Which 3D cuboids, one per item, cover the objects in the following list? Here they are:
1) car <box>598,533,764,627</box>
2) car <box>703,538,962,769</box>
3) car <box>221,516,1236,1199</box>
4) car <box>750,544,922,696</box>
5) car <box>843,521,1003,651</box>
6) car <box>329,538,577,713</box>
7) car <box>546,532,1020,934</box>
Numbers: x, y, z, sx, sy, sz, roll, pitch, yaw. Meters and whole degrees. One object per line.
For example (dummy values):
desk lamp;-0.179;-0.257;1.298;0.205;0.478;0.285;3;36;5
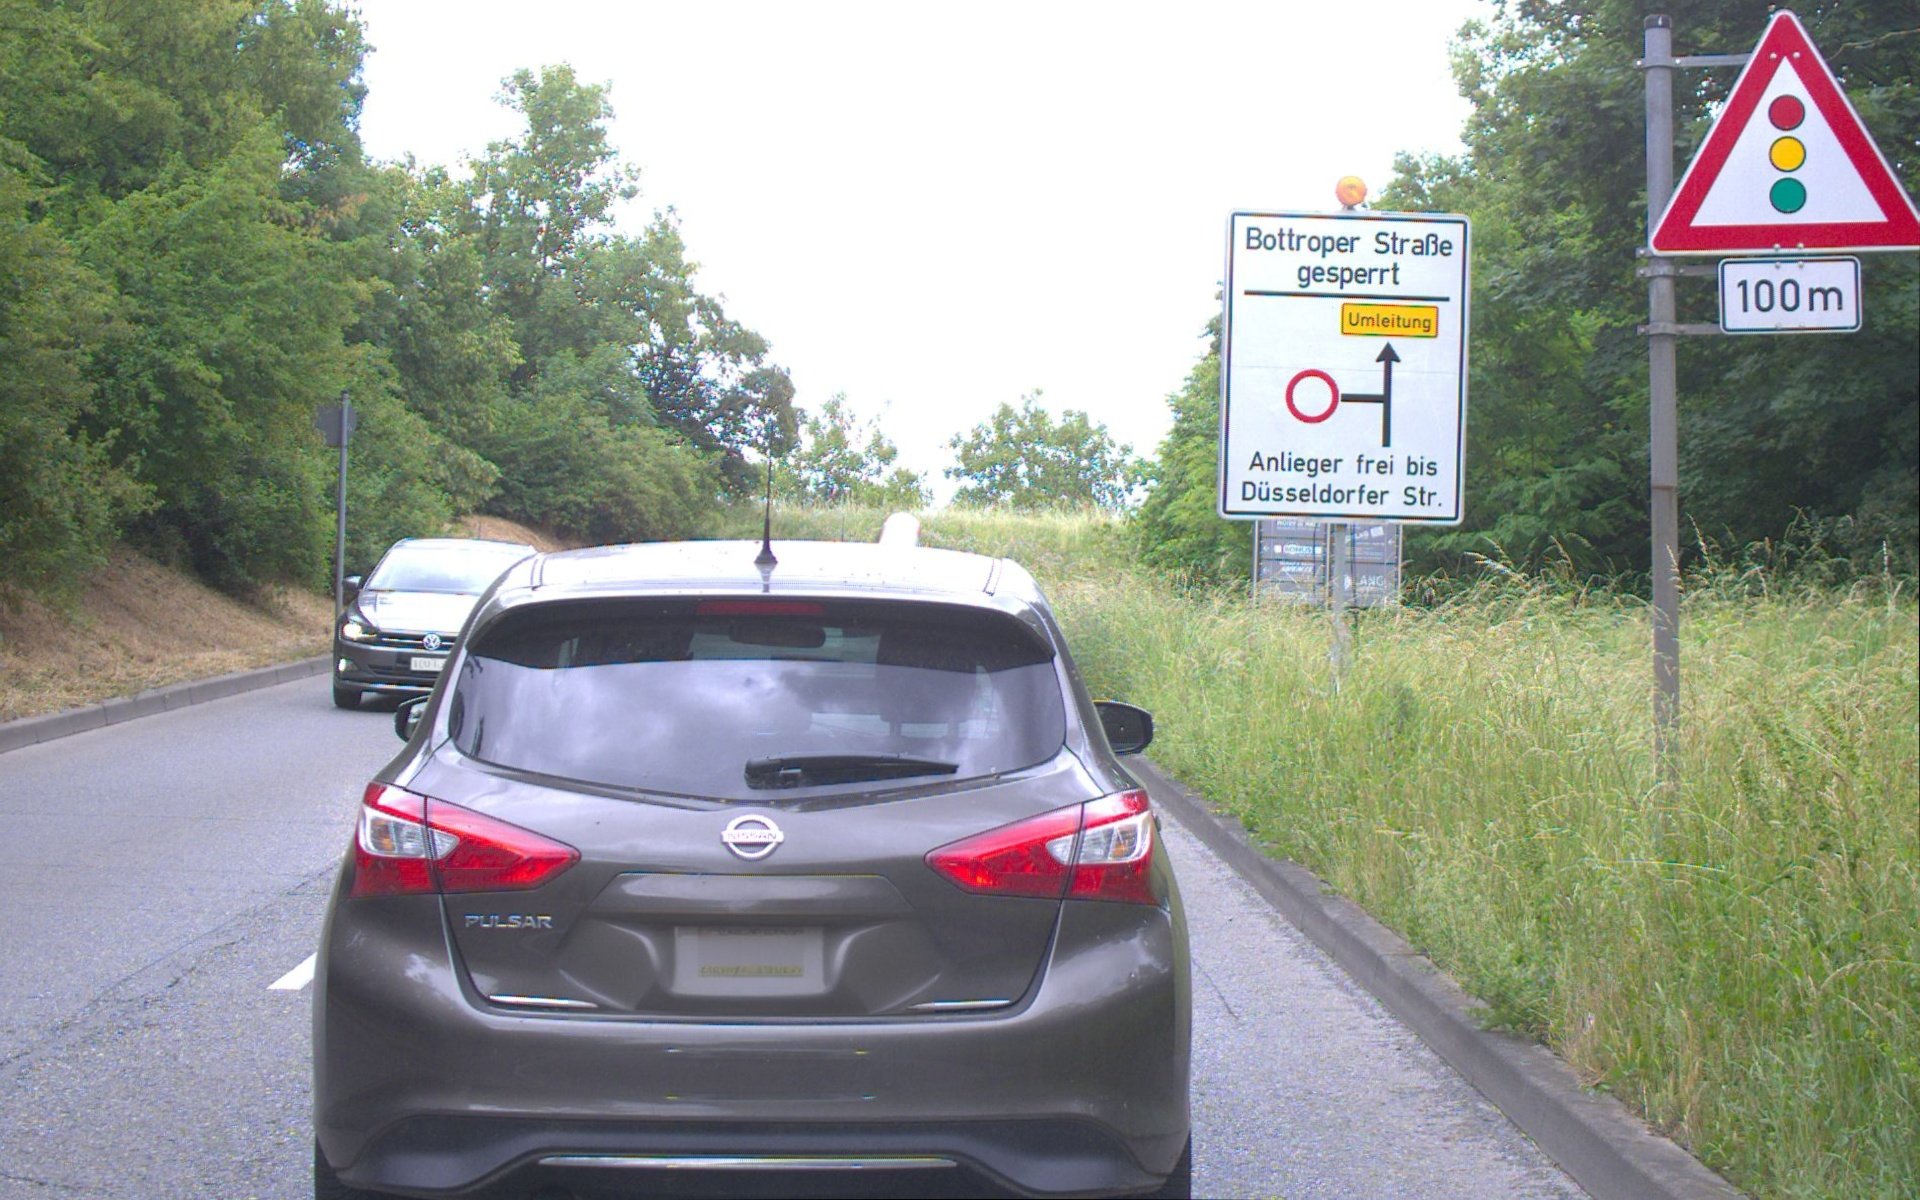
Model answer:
car;-4.561;-0.324;56.652;1.643;1.395;3.819;4;1;12
car;-0.866;0.328;24.917;1.736;1.551;3.543;0;1;0
car;-0.486;0.598;7.985;1.830;1.551;3.500;0;1;-2
car;-1.292;0.175;37.119;1.736;1.551;3.543;0;1;0
car;-0.534;-0.238;52.794;1.737;1.928;3.542;0;1;12
car;-4.301;0.171;29.609;1.642;1.395;3.822;0;1;-1
car;-0.693;0.484;15.131;1.830;1.551;3.625;0;1;0
